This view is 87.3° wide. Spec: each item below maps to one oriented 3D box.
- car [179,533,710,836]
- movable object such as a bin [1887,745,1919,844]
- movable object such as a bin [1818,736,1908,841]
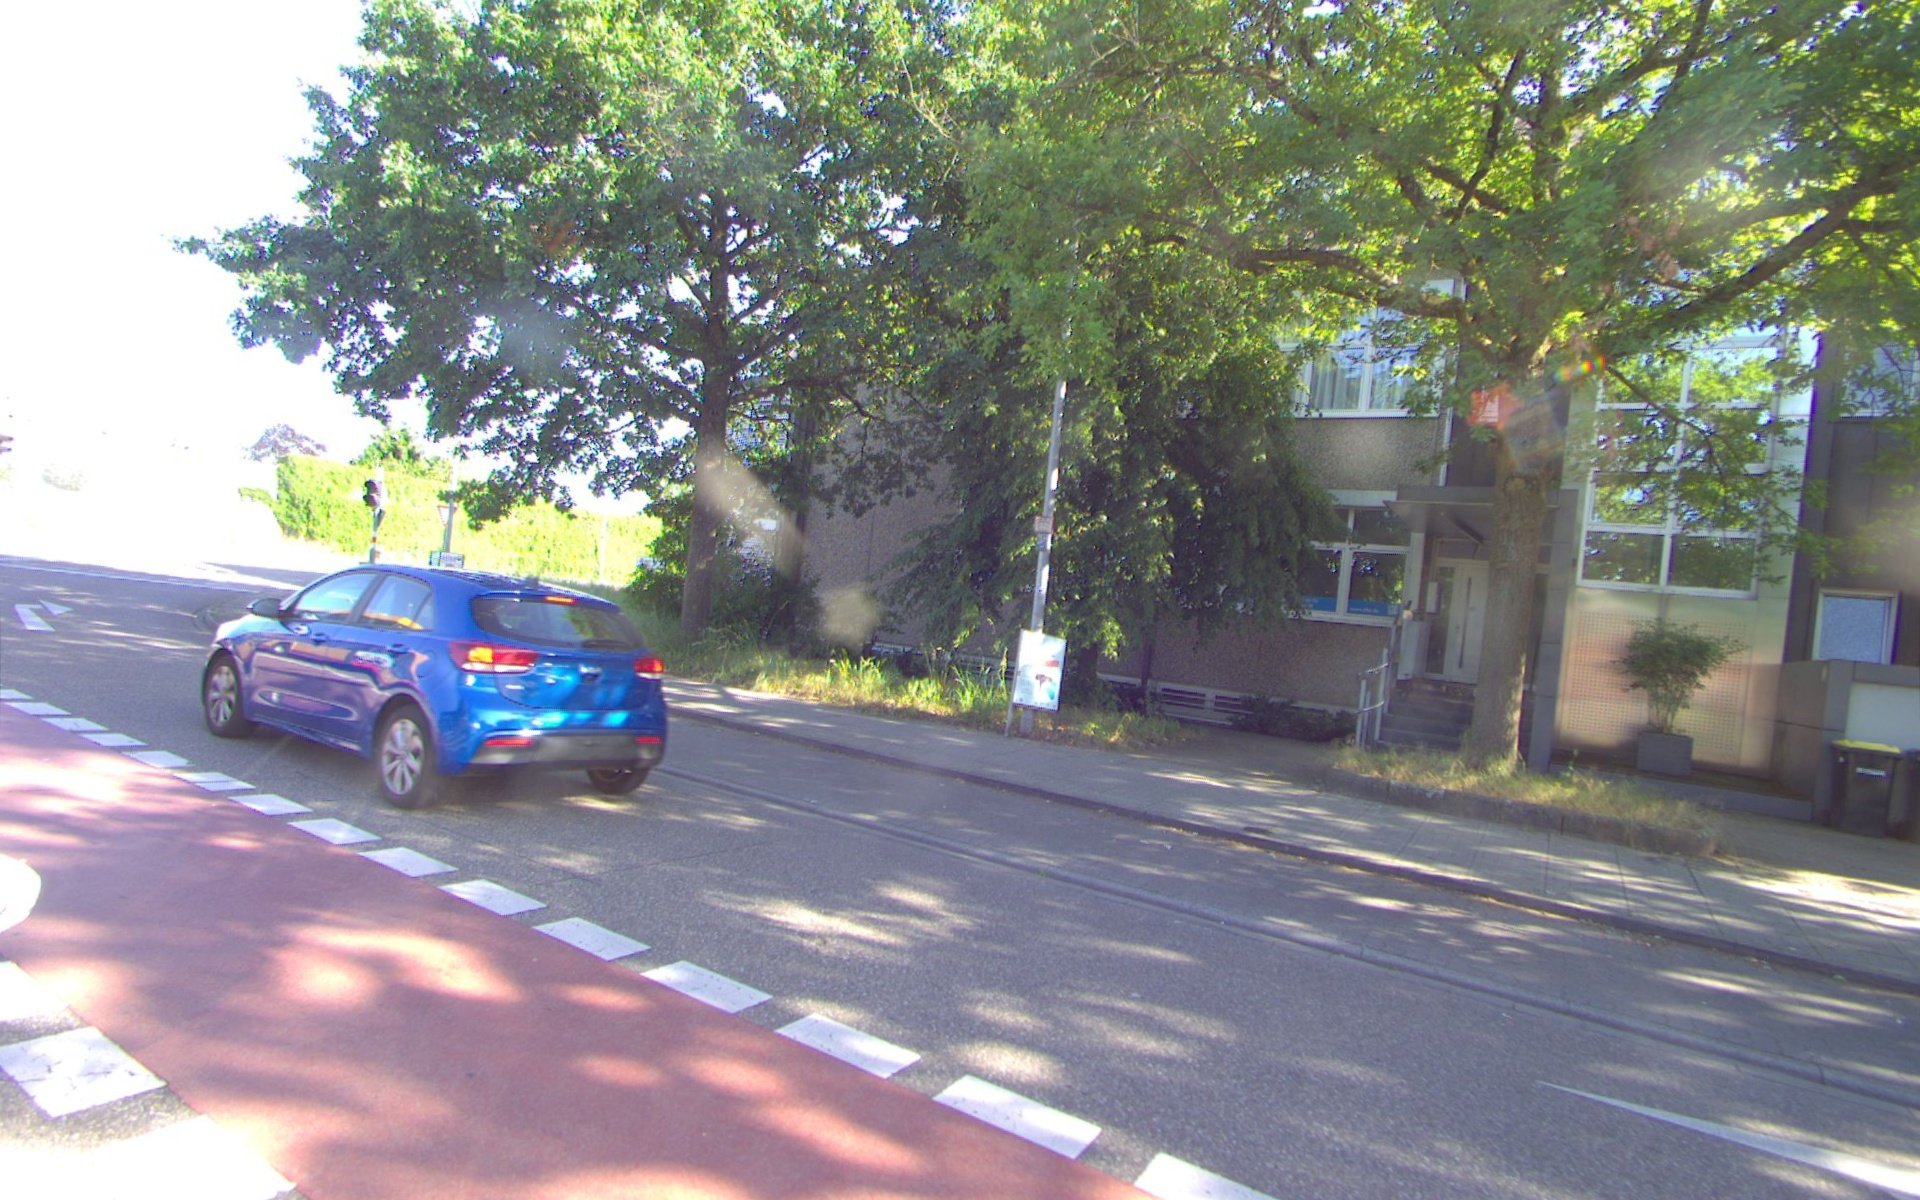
[{"bbox_3d":[-3.861,0.476,7.339,3.877,1.486,1.651,6,-1,34],"label":"car"},{"bbox_3d":[11.145,2.248,11.488,0.605,1.075,0.634,6,0,30],"label":"movable object such as a bin"},{"bbox_3d":[10.556,2.184,11.781,0.575,1.070,0.625,7,0,30],"label":"movable object such as a bin"}]
